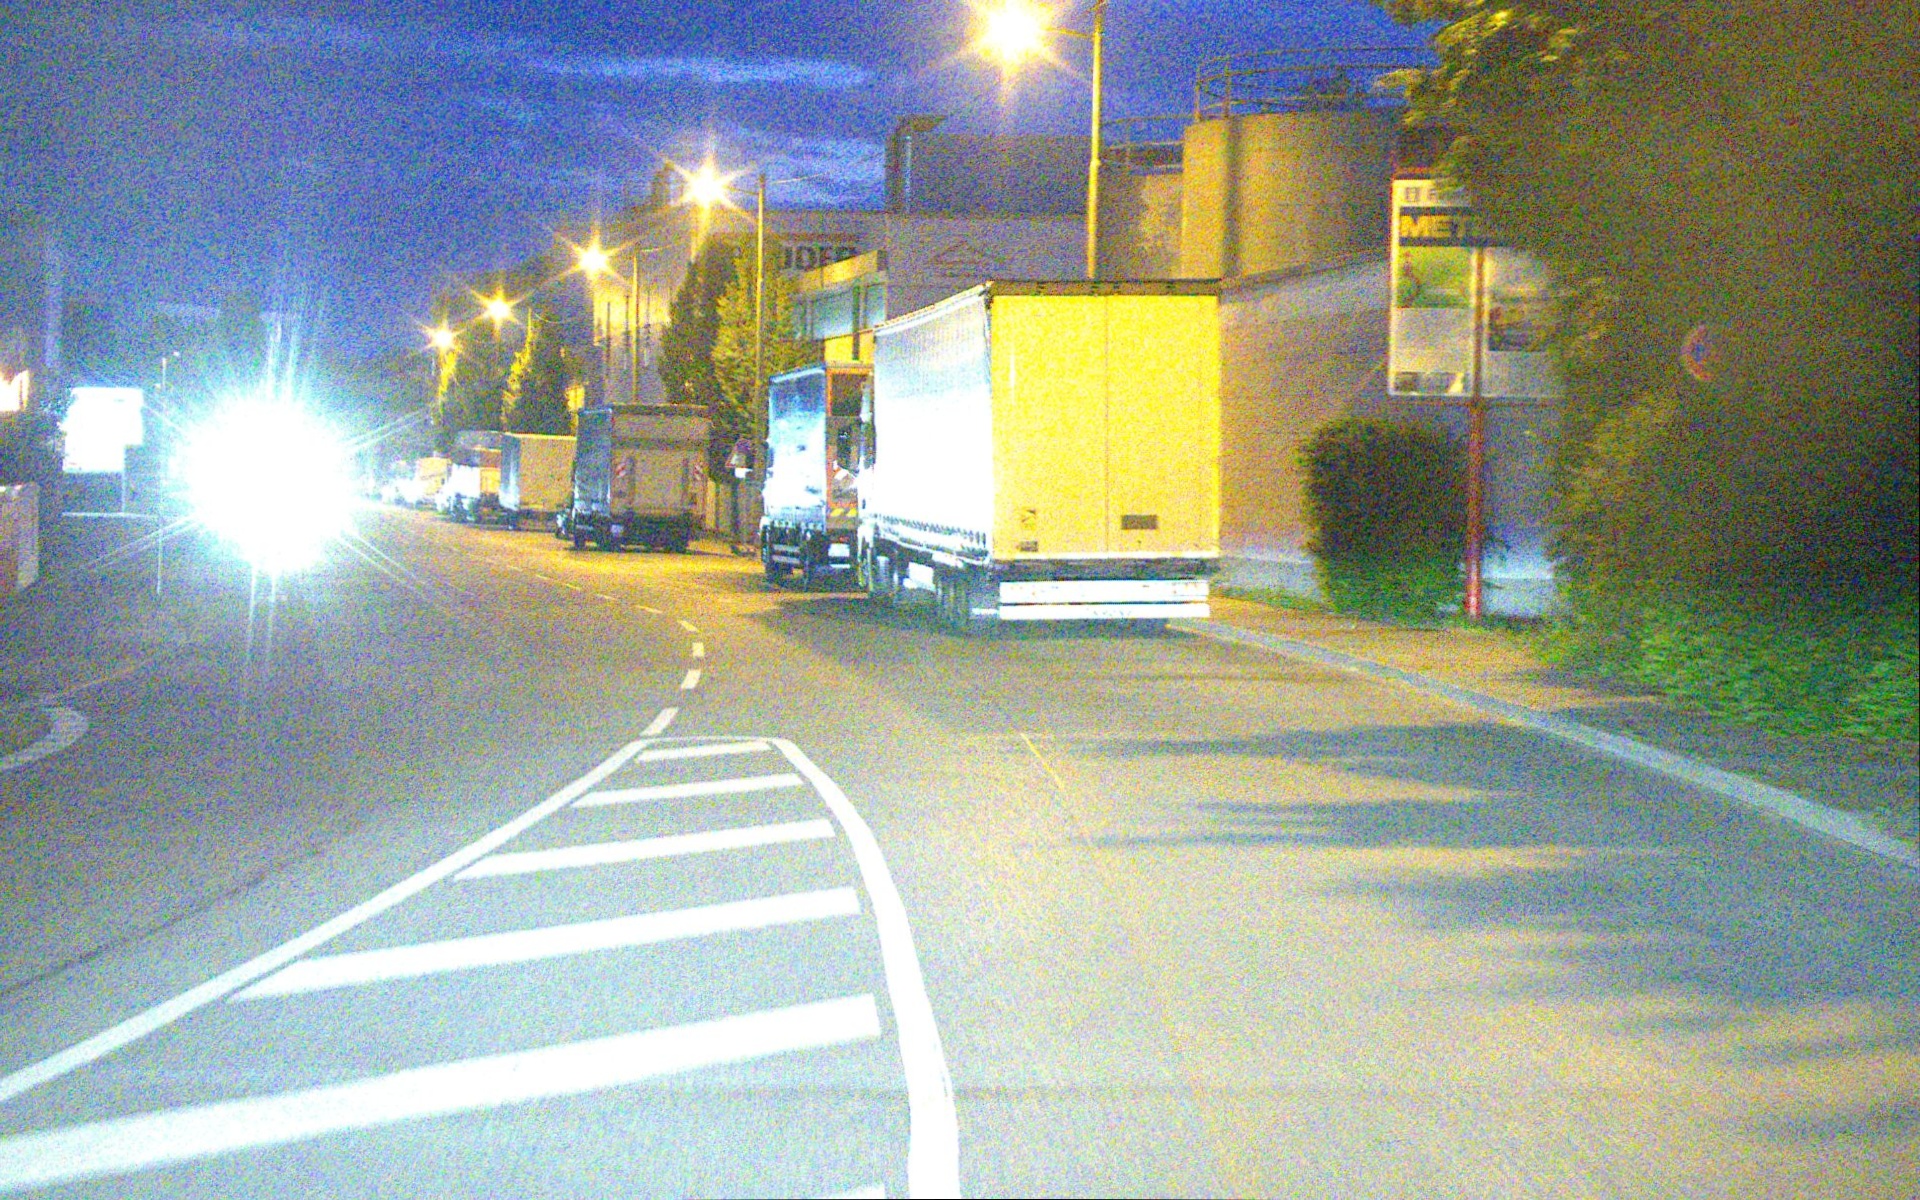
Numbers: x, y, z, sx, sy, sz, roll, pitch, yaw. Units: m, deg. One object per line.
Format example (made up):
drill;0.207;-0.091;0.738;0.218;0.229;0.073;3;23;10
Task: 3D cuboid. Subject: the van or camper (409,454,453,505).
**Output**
van or camper;-27.444;-6.252;178.273;1.993;2.572;4.916;1;2;-11

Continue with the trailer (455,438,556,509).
trailer;-18.355;-5.060;138.236;3.183;2.739;10.719;-1;2;-12

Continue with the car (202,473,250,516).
car;-31.949;-4.607;149.637;1.993;1.787;4.002;1;2;-12

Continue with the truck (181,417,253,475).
truck;-48.632;-10.049;224.837;3.889;3.609;8.263;1;2;-17

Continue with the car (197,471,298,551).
car;-15.520;-1.945;74.737;1.993;1.631;4.776;1;1;-13

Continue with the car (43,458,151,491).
car;-41.303;-6.009;164.524;4.614;1.480;2.000;0;2;-34

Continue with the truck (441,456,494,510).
truck;-22.522;-5.367;157.102;1.993;2.399;5.295;1;2;-12

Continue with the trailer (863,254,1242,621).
trailer;0.825;-1.974;44.314;2.808;3.969;13.978;0;2;-7

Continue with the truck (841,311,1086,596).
truck;-0.044;-2.141;51.082;2.829;3.969;6.052;0;2;-8

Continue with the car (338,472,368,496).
car;-43.660;-8.346;247.181;1.993;1.678;4.002;1;2;-12

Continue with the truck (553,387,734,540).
truck;-8.822;-3.701;94.508;3.519;3.969;10.346;-1;2;-13

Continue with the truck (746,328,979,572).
truck;-1.915;-2.616;61.482;2.829;3.969;10.345;0;2;-9

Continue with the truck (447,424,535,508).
truck;-19.843;-5.635;145.210;3.150;3.451;6.675;-1;2;-12

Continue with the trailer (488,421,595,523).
trailer;-14.934;-4.520;122.270;2.686;3.452;7.812;1;1;-14

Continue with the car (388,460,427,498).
car;-31.853;-6.992;198.188;1.993;2.138;4.002;1;2;-12

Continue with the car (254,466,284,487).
car;-47.876;-8.544;238.139;1.993;1.393;4.002;1;2;-12
